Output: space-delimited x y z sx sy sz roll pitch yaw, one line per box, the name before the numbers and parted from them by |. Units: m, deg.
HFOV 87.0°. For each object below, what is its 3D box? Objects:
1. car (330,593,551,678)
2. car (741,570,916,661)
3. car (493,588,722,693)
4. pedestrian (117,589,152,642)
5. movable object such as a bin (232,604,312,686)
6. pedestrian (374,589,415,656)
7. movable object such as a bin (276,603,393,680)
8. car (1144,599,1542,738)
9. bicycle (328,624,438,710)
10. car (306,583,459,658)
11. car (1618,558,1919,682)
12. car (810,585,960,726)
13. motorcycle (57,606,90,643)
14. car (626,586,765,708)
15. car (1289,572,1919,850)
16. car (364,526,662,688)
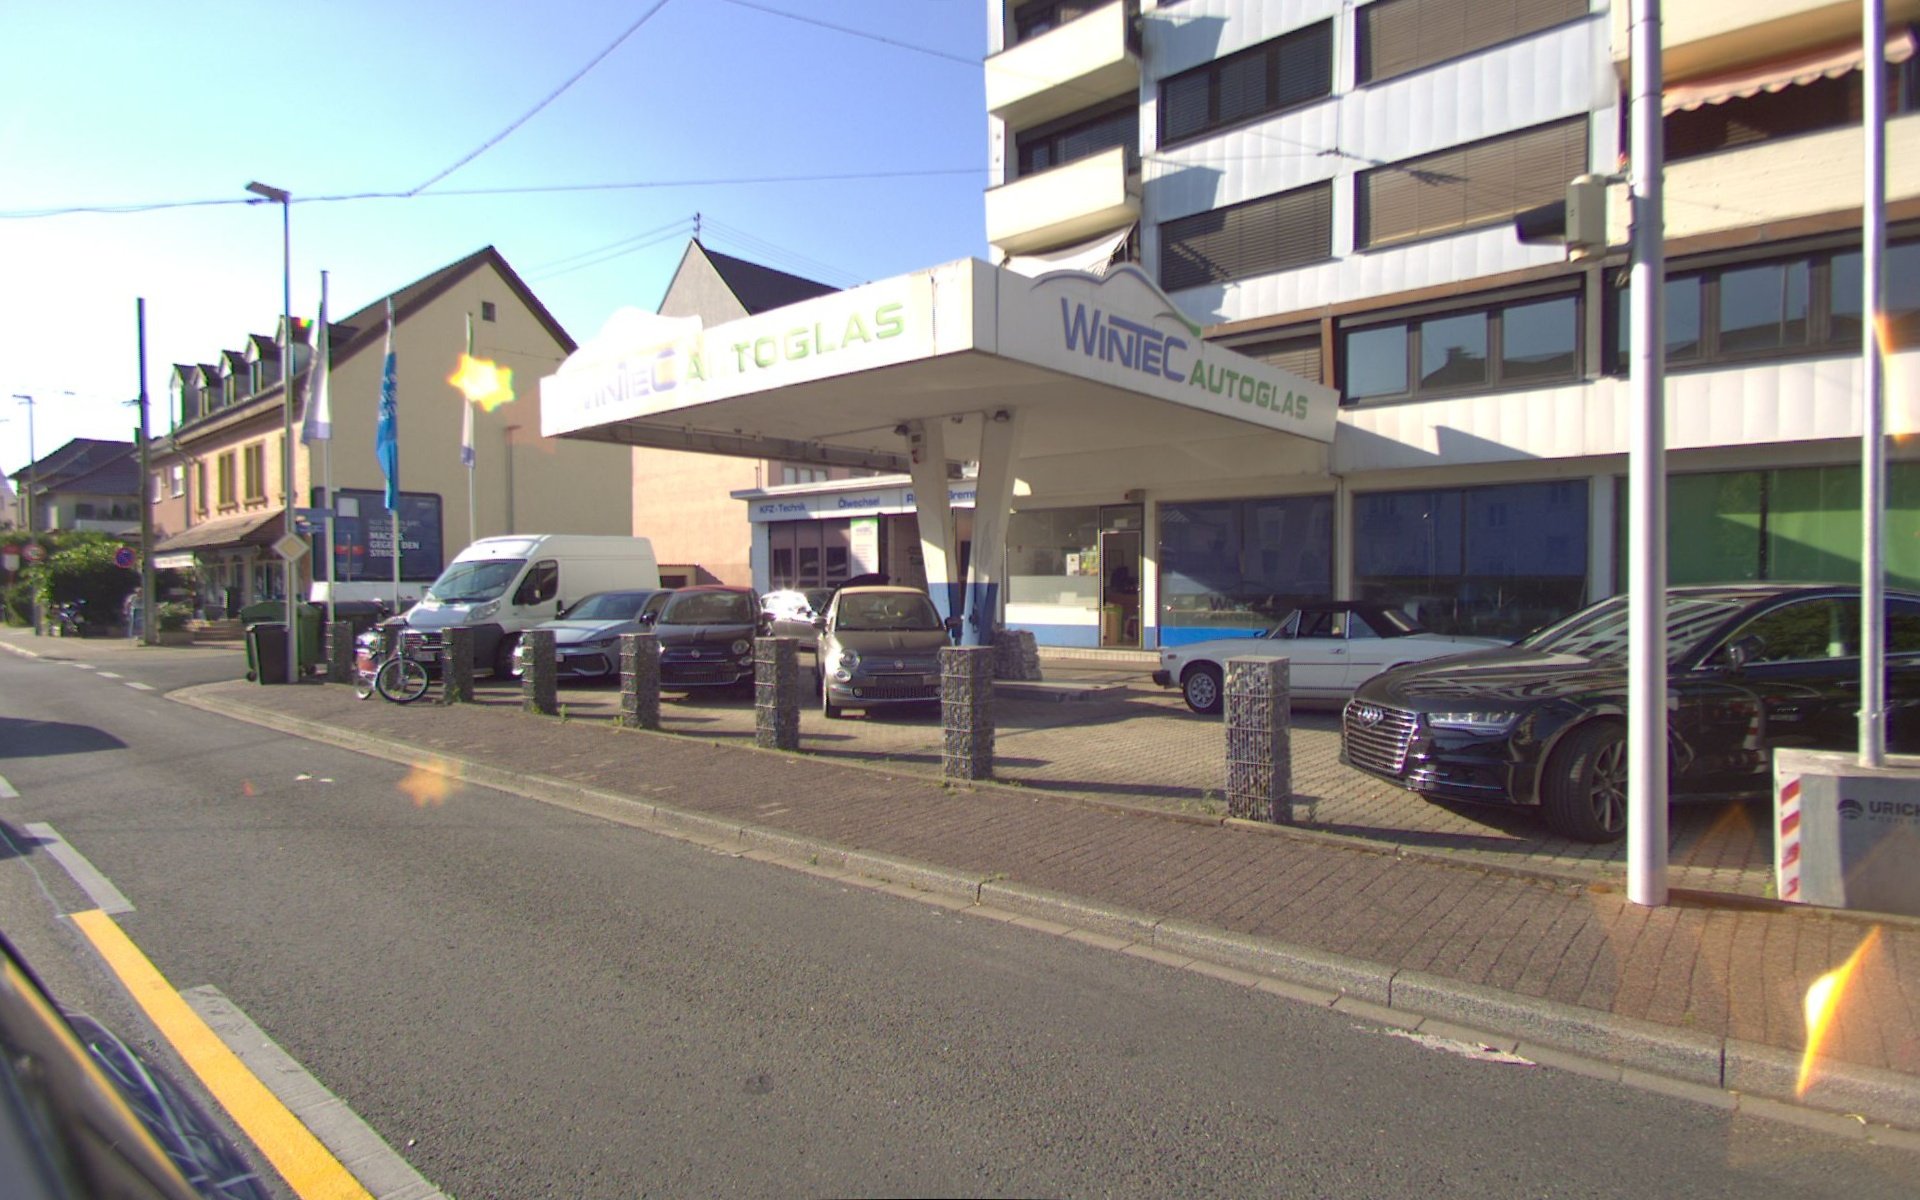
car | -10.109 0.625 20.067 1.726 1.488 4.014 0 0 13
car | -3.165 0.319 23.824 4.256 1.958 1.719 0 1 41
car | -5.645 0.572 16.765 1.726 1.508 4.014 0 0 13
pedestrian | -27.460 0.505 33.653 0.859 1.726 0.799 0 0 42
movable object such as a bin | -12.783 0.809 18.832 1.030 1.475 0.798 0 0 -17
pedestrian | -15.910 0.621 28.478 0.822 1.866 0.757 0 0 40
movable object such as a bin | -12.618 0.805 20.484 1.039 1.475 1.786 0 0 16
car | 4.160 0.658 11.316 3.900 1.308 1.506 0 -1 38
bicycle | -8.071 0.901 14.137 1.790 1.094 0.716 0 1 39
car | -16.742 0.559 29.456 1.450 2.029 3.626 0 0 39
car | 12.335 0.267 15.507 3.628 1.686 1.701 0 0 39
car | -1.046 0.584 12.653 1.517 1.497 3.380 -1 0 -10
motorcycle | -30.709 0.841 35.042 2.187 1.226 0.699 0 0 44
car | -3.646 0.578 14.425 1.569 1.508 3.442 -1 0 -9
car | 4.756 0.590 6.507 4.615 1.449 1.935 0 -1 -7
car | -7.766 0.086 18.229 2.099 2.472 4.960 0 0 19
